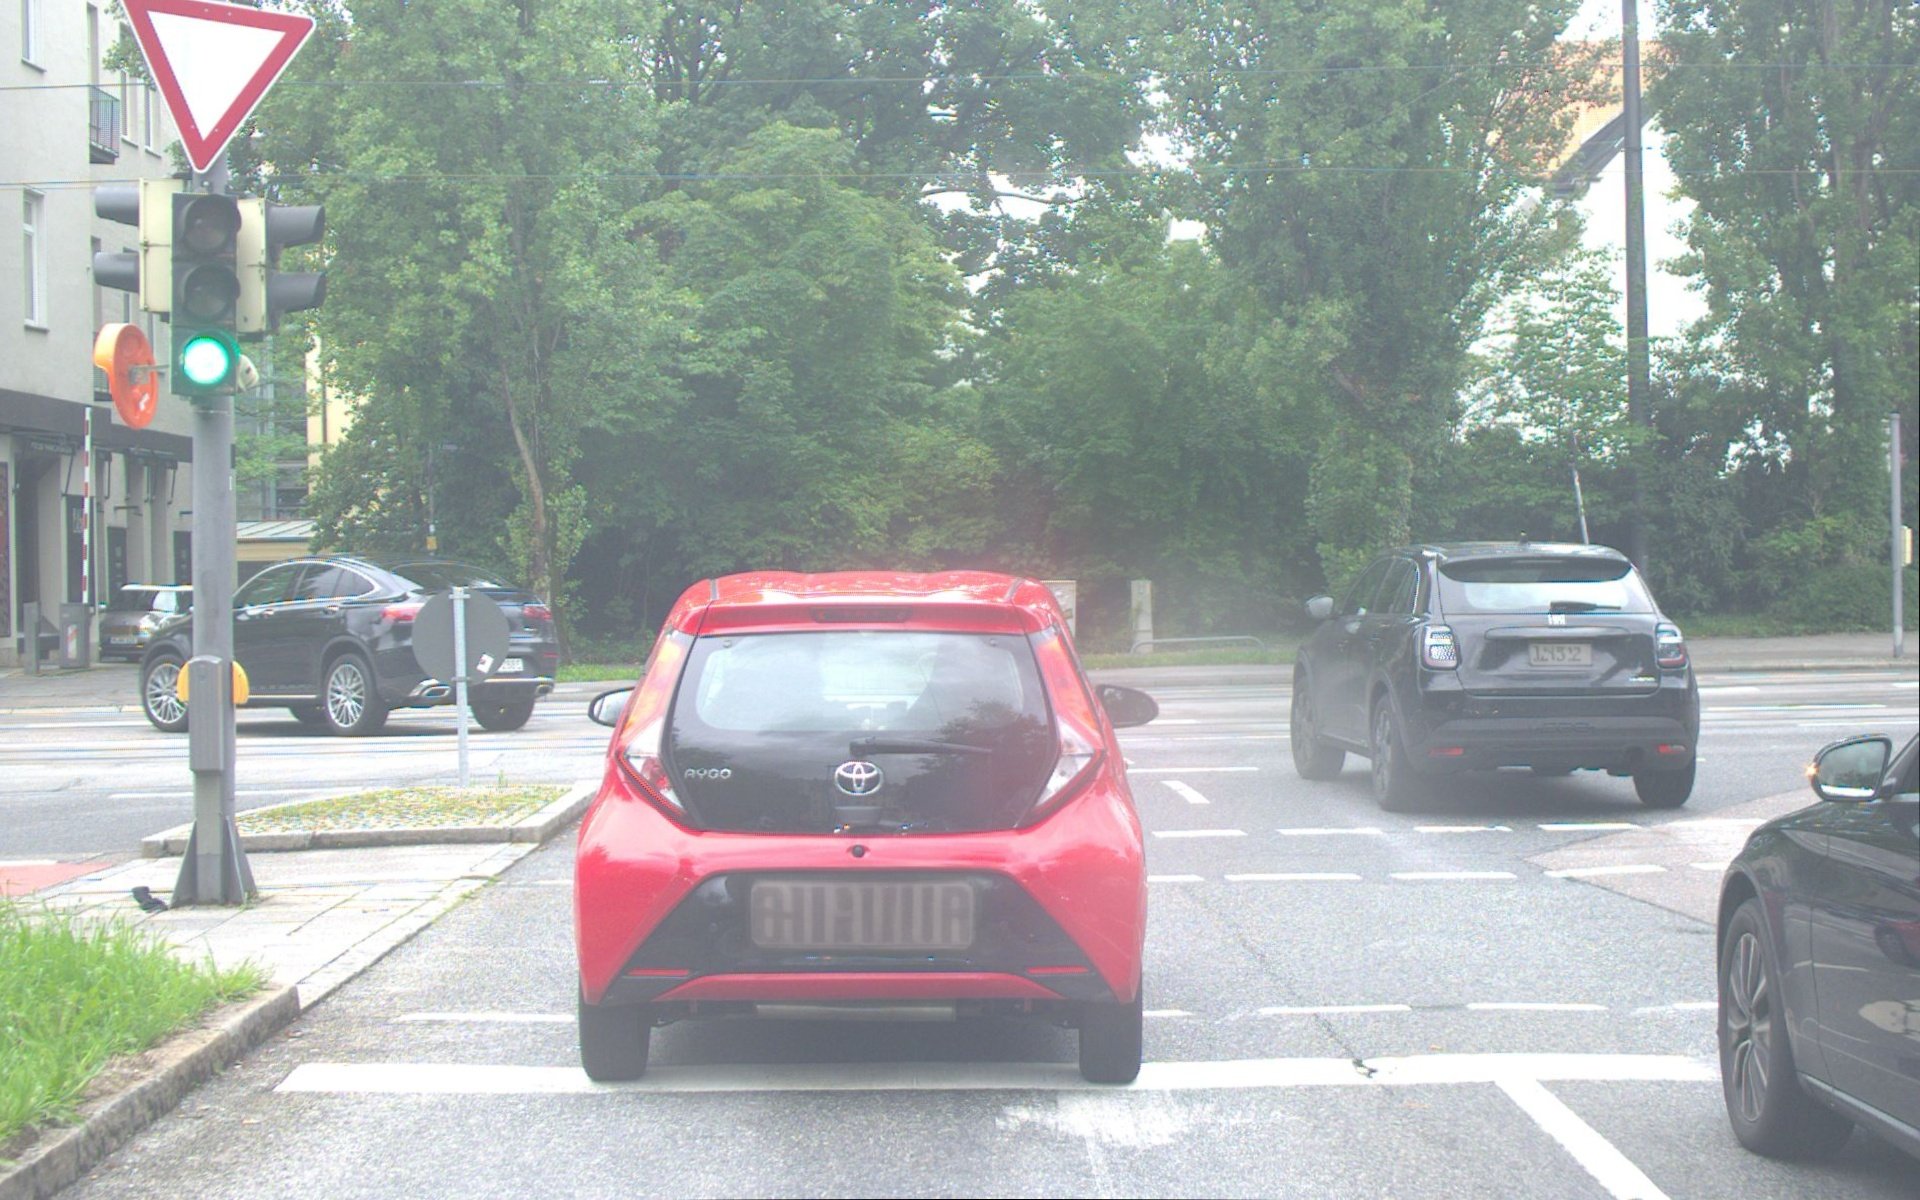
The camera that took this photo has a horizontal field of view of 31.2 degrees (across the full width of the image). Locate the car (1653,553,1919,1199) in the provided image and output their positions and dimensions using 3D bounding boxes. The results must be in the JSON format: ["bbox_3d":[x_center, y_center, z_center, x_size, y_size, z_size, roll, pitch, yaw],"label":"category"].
[{"bbox_3d":[2.820,0.686,7.006,1.863,1.544,4.703,1,1,0],"label":"car"}]

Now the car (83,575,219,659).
[{"bbox_3d":[-14.706,0.281,62.669,1.725,1.437,4.001,-1,1,-3],"label":"car"}]

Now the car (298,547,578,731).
[{"bbox_3d":[-4.898,0.315,31.741,1.735,1.544,4.577,-1,1,-19],"label":"car"}]

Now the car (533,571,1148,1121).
[{"bbox_3d":[-0.288,0.649,10.944,1.628,1.435,3.376,-1,1,1],"label":"car"}]

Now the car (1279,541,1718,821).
[{"bbox_3d":[3.117,0.431,20.698,1.780,1.481,4.000,-1,0,-3],"label":"car"}]
